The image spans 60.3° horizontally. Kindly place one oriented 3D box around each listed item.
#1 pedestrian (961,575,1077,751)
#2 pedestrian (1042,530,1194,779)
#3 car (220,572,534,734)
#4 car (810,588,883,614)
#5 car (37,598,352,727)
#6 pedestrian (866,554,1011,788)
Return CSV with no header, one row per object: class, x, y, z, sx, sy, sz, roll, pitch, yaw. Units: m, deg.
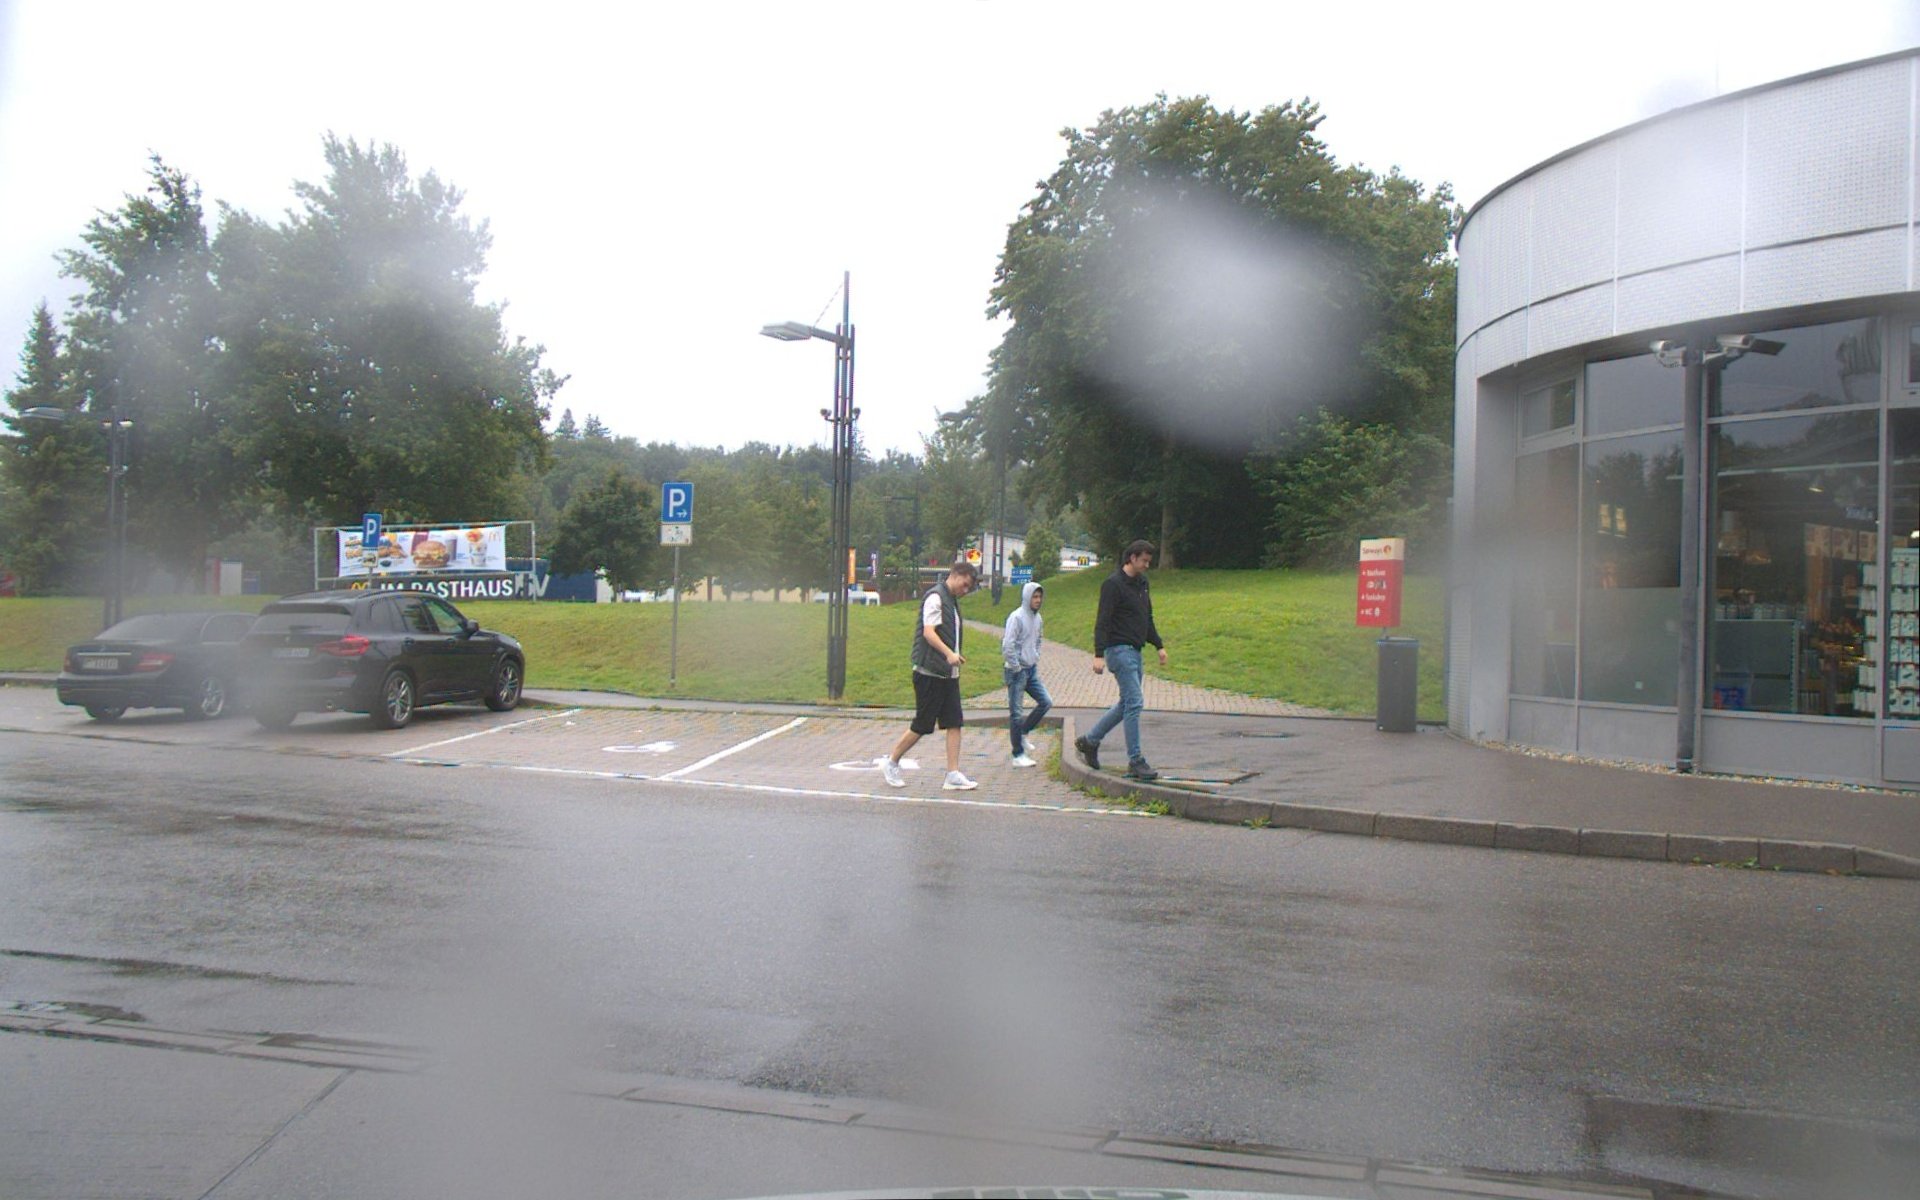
pedestrian,0.553,0.559,15.321,0.872,1.577,0.659,0,0,29
pedestrian,1.268,0.412,13.211,0.979,1.897,0.798,0,0,28
car,-7.330,0.605,21.325,1.844,1.860,4.417,0,0,11
car,-9.159,0.056,133.634,5.310,2.049,2.456,1,0,19
car,-10.356,0.777,22.764,1.844,1.592,4.189,0,0,11
pedestrian,-0.177,0.567,13.828,0.954,1.880,0.772,0,0,28
